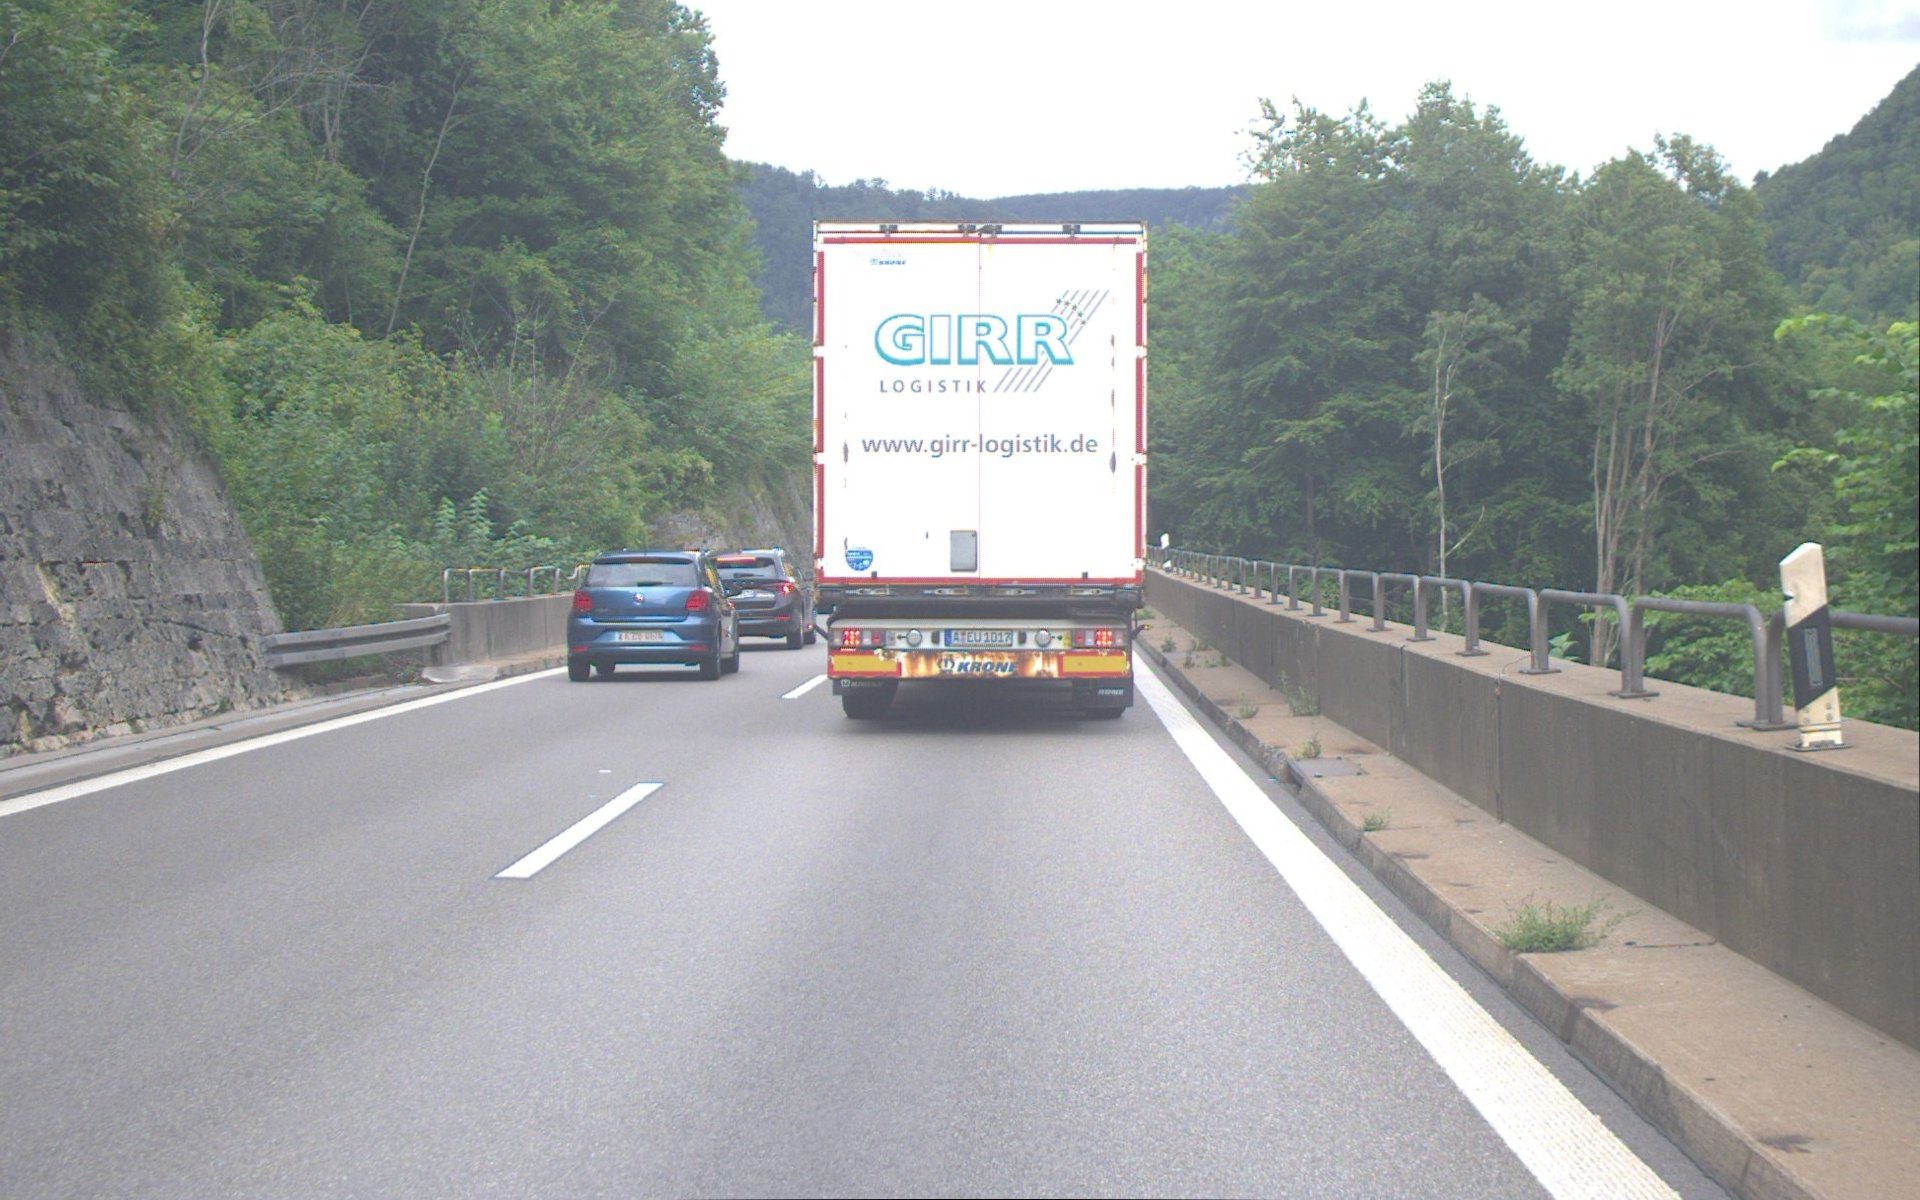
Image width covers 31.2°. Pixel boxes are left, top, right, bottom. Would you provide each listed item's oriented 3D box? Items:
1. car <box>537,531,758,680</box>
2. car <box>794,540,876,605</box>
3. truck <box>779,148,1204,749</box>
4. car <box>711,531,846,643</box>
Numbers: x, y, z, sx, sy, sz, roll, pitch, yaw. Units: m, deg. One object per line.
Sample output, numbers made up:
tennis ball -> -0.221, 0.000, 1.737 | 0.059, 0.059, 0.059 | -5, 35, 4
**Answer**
car -> -3.456, 0.014, 38.786 | 1.993, 1.590, 4.354 | 0, 1, 1
car -> -2.886, -0.626, 80.056 | 1.745, 1.481, 4.000 | 0, 0, 0
truck -> 0.454, -1.359, 33.560 | 3.084, 4.448, 15.156 | 2, 2, 2
car -> -2.628, -0.213, 50.431 | 1.745, 1.581, 4.000 | 0, 1, 0
